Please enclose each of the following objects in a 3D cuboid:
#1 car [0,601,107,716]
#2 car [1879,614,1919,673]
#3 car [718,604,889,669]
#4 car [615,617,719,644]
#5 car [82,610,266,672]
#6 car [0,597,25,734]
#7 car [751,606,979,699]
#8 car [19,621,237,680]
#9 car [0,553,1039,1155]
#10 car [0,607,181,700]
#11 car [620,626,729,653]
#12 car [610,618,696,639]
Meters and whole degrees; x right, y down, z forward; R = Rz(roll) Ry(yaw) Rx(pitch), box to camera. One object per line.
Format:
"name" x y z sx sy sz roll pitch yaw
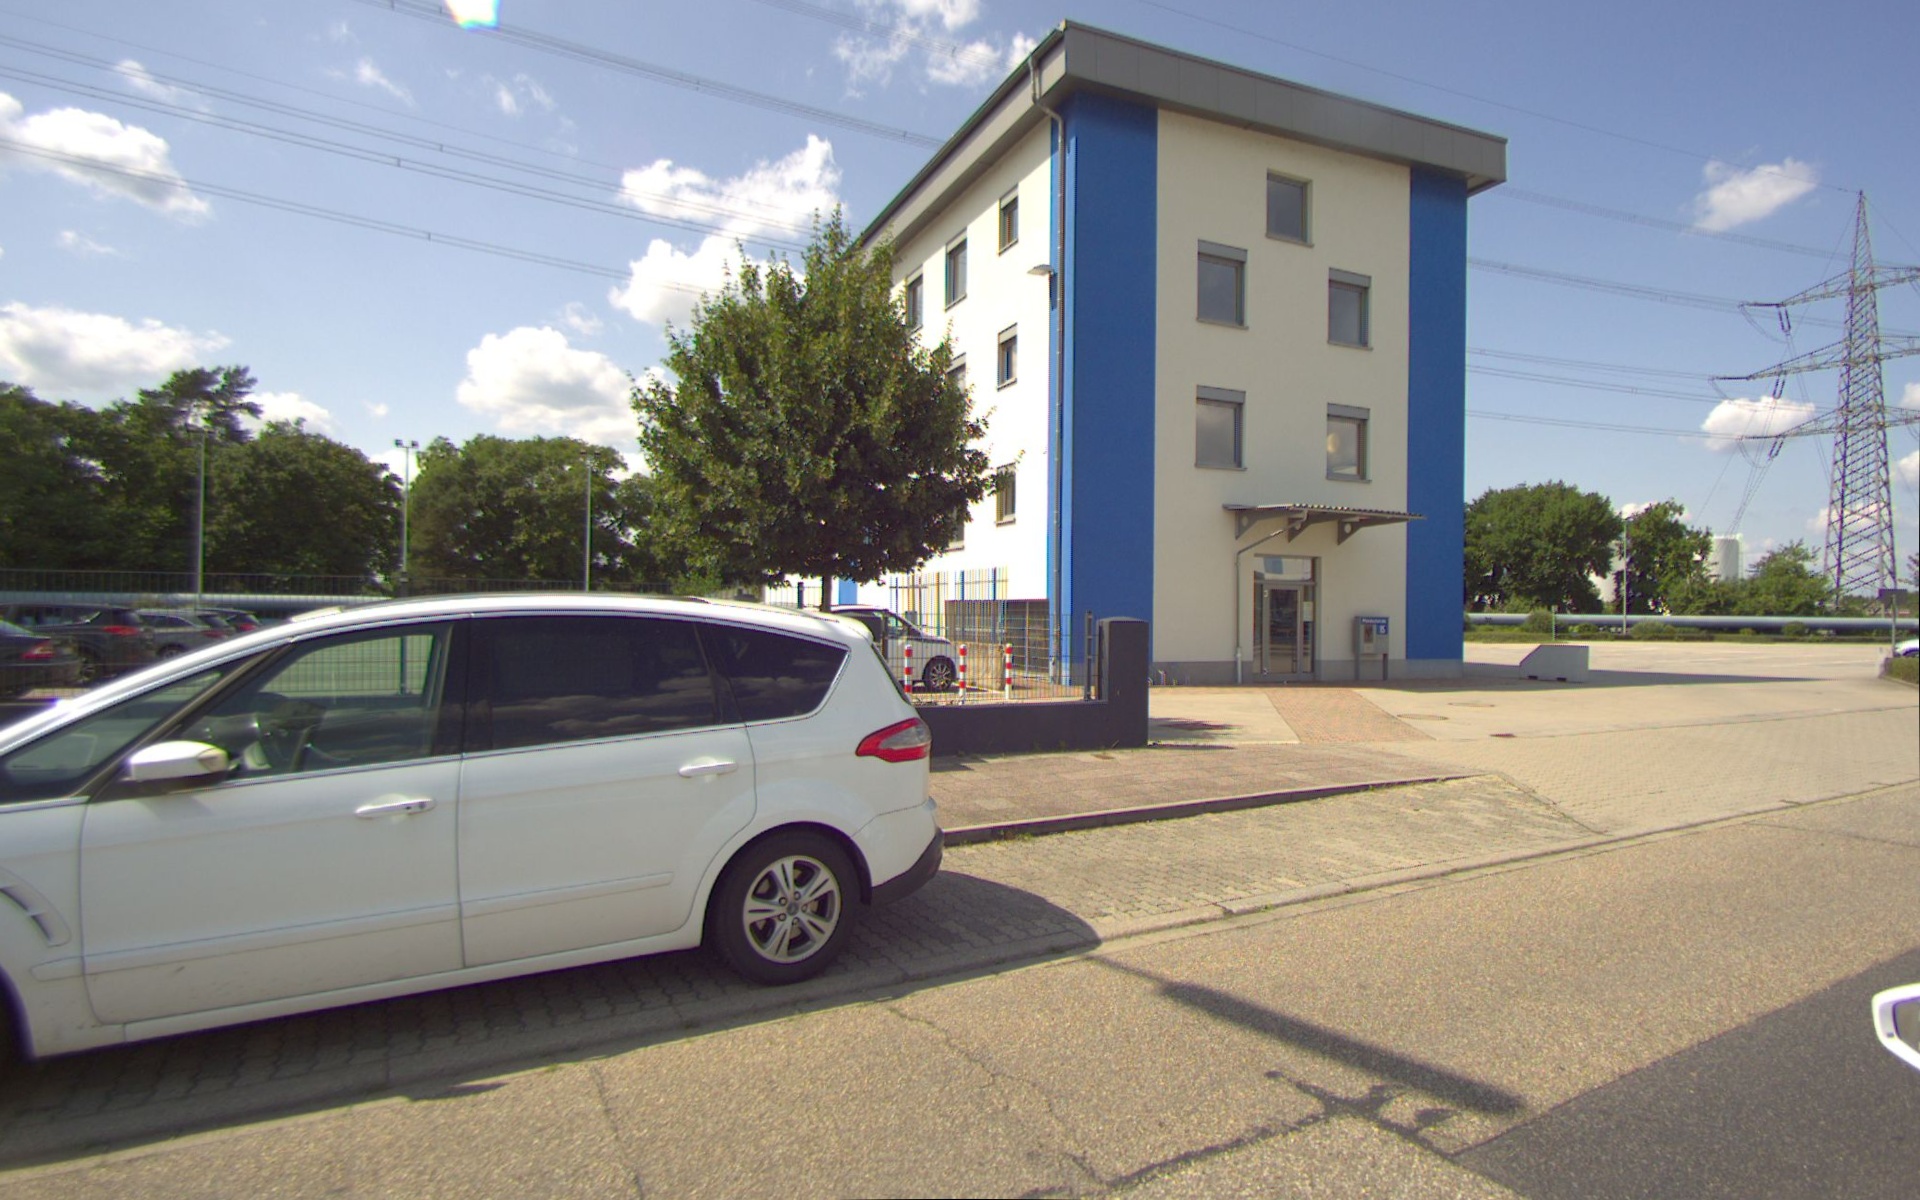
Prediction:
"car" -15.723 0.875 15.526 3.431 1.731 1.868 1 -1 -24
"car" 28.240 1.180 27.103 1.978 1.623 4.728 1 -2 -33
"car" -4.332 0.999 27.874 4.385 1.677 1.819 1 -1 -25
"car" -11.973 1.245 41.023 3.850 1.090 1.761 1 -1 -25
"car" -22.033 1.119 28.316 3.965 1.639 1.635 1 -1 -38
"car" -13.568 0.738 10.792 4.782 1.658 1.818 1 -1 -27
"car" -1.726 0.912 18.167 3.706 1.527 1.868 1 -1 -24
"car" -19.886 1.185 24.193 3.703 1.339 1.535 1 -1 -20
"car" -2.123 0.745 4.337 4.698 1.731 1.858 1 0 -31
"car" -18.033 1.009 19.693 4.012 1.731 1.867 1 -1 -25
"car" -10.901 1.516 38.343 3.847 0.981 1.762 1 -1 -23
"car" -14.600 1.360 47.809 3.843 0.981 1.764 1 -1 -20
